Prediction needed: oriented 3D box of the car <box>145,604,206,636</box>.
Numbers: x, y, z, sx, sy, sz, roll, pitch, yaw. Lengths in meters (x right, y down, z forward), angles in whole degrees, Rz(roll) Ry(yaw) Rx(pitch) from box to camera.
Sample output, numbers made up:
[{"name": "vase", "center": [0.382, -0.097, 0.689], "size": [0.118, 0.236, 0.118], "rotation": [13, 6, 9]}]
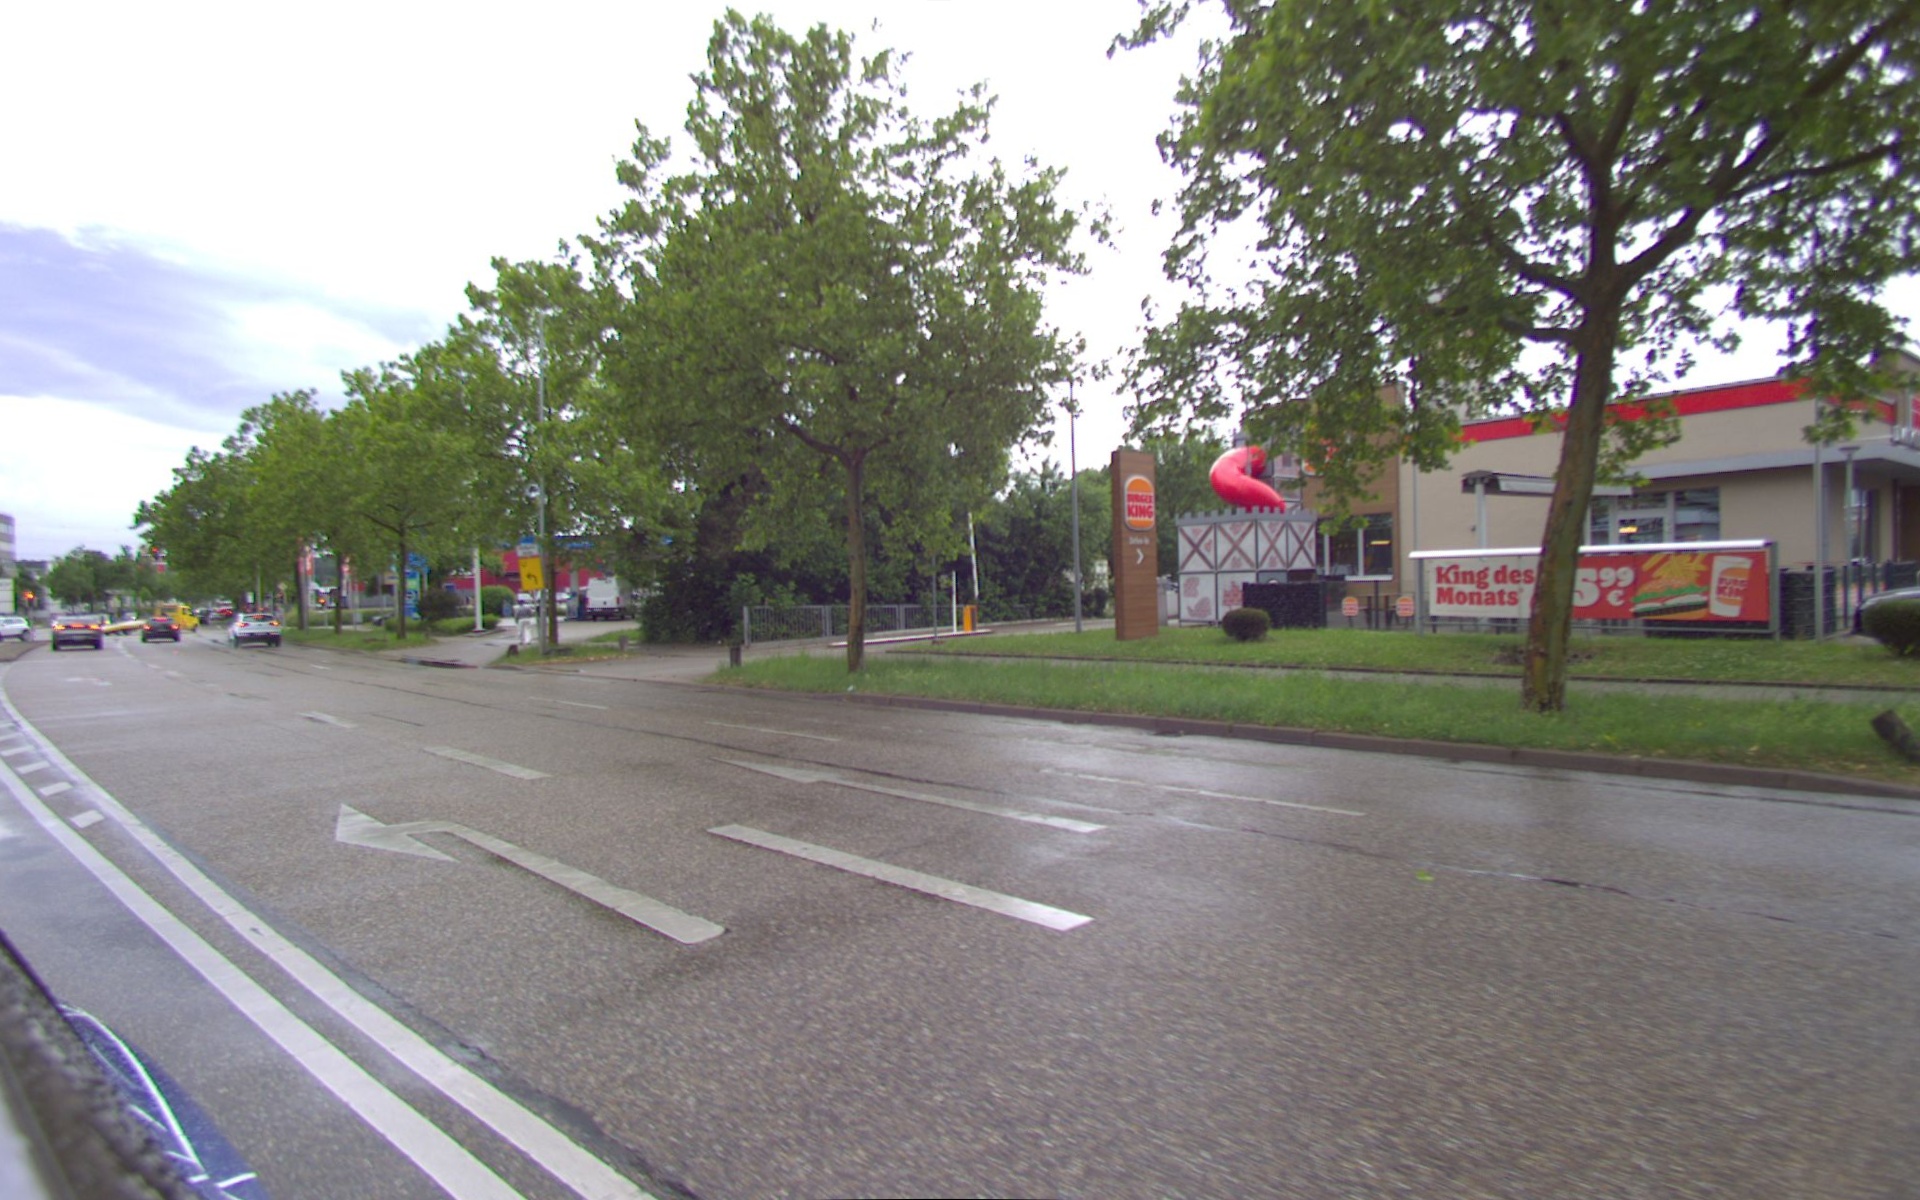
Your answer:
[{"name": "car", "center": [-67.274, 1.709, 86.869], "size": [2.209, 2.492, 5.028], "rotation": [-3, 0, -14]}]

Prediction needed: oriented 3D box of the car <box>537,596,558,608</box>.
[{"name": "car", "center": [-50.705, 0.225, 124.466], "size": [1.645, 1.391, 3.920], "rotation": [-1, -1, -33]}]

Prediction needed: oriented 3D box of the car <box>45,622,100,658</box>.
[{"name": "car", "center": [-42.748, 1.875, 48.713], "size": [1.790, 1.573, 4.602], "rotation": [-1, 0, -43]}]

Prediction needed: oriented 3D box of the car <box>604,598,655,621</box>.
[{"name": "car", "center": [-27.843, 0.785, 85.308], "size": [1.812, 1.811, 3.652], "rotation": [-1, 0, 38]}]

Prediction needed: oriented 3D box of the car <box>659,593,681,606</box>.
[{"name": "car", "center": [-37.711, -0.023, 131.503], "size": [1.645, 1.658, 3.837], "rotation": [-1, -1, -33]}]

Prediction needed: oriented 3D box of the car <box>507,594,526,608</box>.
[{"name": "car", "center": [-55.044, 0.183, 125.572], "size": [1.645, 1.658, 3.837], "rotation": [-1, -1, -33]}]

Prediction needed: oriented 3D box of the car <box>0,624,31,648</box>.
[{"name": "car", "center": [-63.185, 2.358, 65.709], "size": [1.880, 1.565, 3.990], "rotation": [-2, -1, 8]}]

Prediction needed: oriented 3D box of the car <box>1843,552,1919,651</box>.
[{"name": "car", "center": [13.236, -0.038, 13.797], "size": [3.136, 1.163, 1.293], "rotation": [-5, 2, -40]}]

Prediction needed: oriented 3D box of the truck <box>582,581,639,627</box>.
[{"name": "truck", "center": [-22.215, 0.331, 64.626], "size": [2.121, 2.695, 7.888], "rotation": [-1, -1, -9]}]

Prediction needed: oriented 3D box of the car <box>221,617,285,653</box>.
[{"name": "car", "center": [-34.455, 1.661, 49.256], "size": [1.905, 1.631, 4.402], "rotation": [-1, 0, -44]}]

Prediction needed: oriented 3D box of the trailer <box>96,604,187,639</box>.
[{"name": "trailer", "center": [-65.990, 1.700, 81.819], "size": [2.273, 2.492, 7.991], "rotation": [-3, 0, -12]}]

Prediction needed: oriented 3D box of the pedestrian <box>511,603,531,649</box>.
[{"name": "pedestrian", "center": [-17.271, 1.011, 39.806], "size": [0.655, 1.780, 0.585], "rotation": [-2, 0, -24]}]

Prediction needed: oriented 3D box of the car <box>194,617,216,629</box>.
[{"name": "car", "center": [-91.274, 2.769, 122.350], "size": [1.758, 1.415, 4.012], "rotation": [-1, -1, -31]}]

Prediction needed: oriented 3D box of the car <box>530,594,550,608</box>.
[{"name": "car", "center": [-53.084, 0.166, 127.885], "size": [1.605, 1.658, 3.837], "rotation": [-1, -1, -33]}]

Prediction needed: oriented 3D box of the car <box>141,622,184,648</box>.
[{"name": "car", "center": [-48.496, 2.084, 61.509], "size": [1.968, 1.520, 4.739], "rotation": [0, -1, -39]}]

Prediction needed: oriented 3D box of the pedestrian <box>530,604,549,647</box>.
[{"name": "pedestrian", "center": [-16.750, 1.020, 40.333], "size": [0.541, 1.695, 0.506], "rotation": [-2, -1, 44]}]

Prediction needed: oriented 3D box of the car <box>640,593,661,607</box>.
[{"name": "car", "center": [-39.633, -0.001, 129.581], "size": [1.645, 1.658, 3.837], "rotation": [-1, -1, -33]}]
